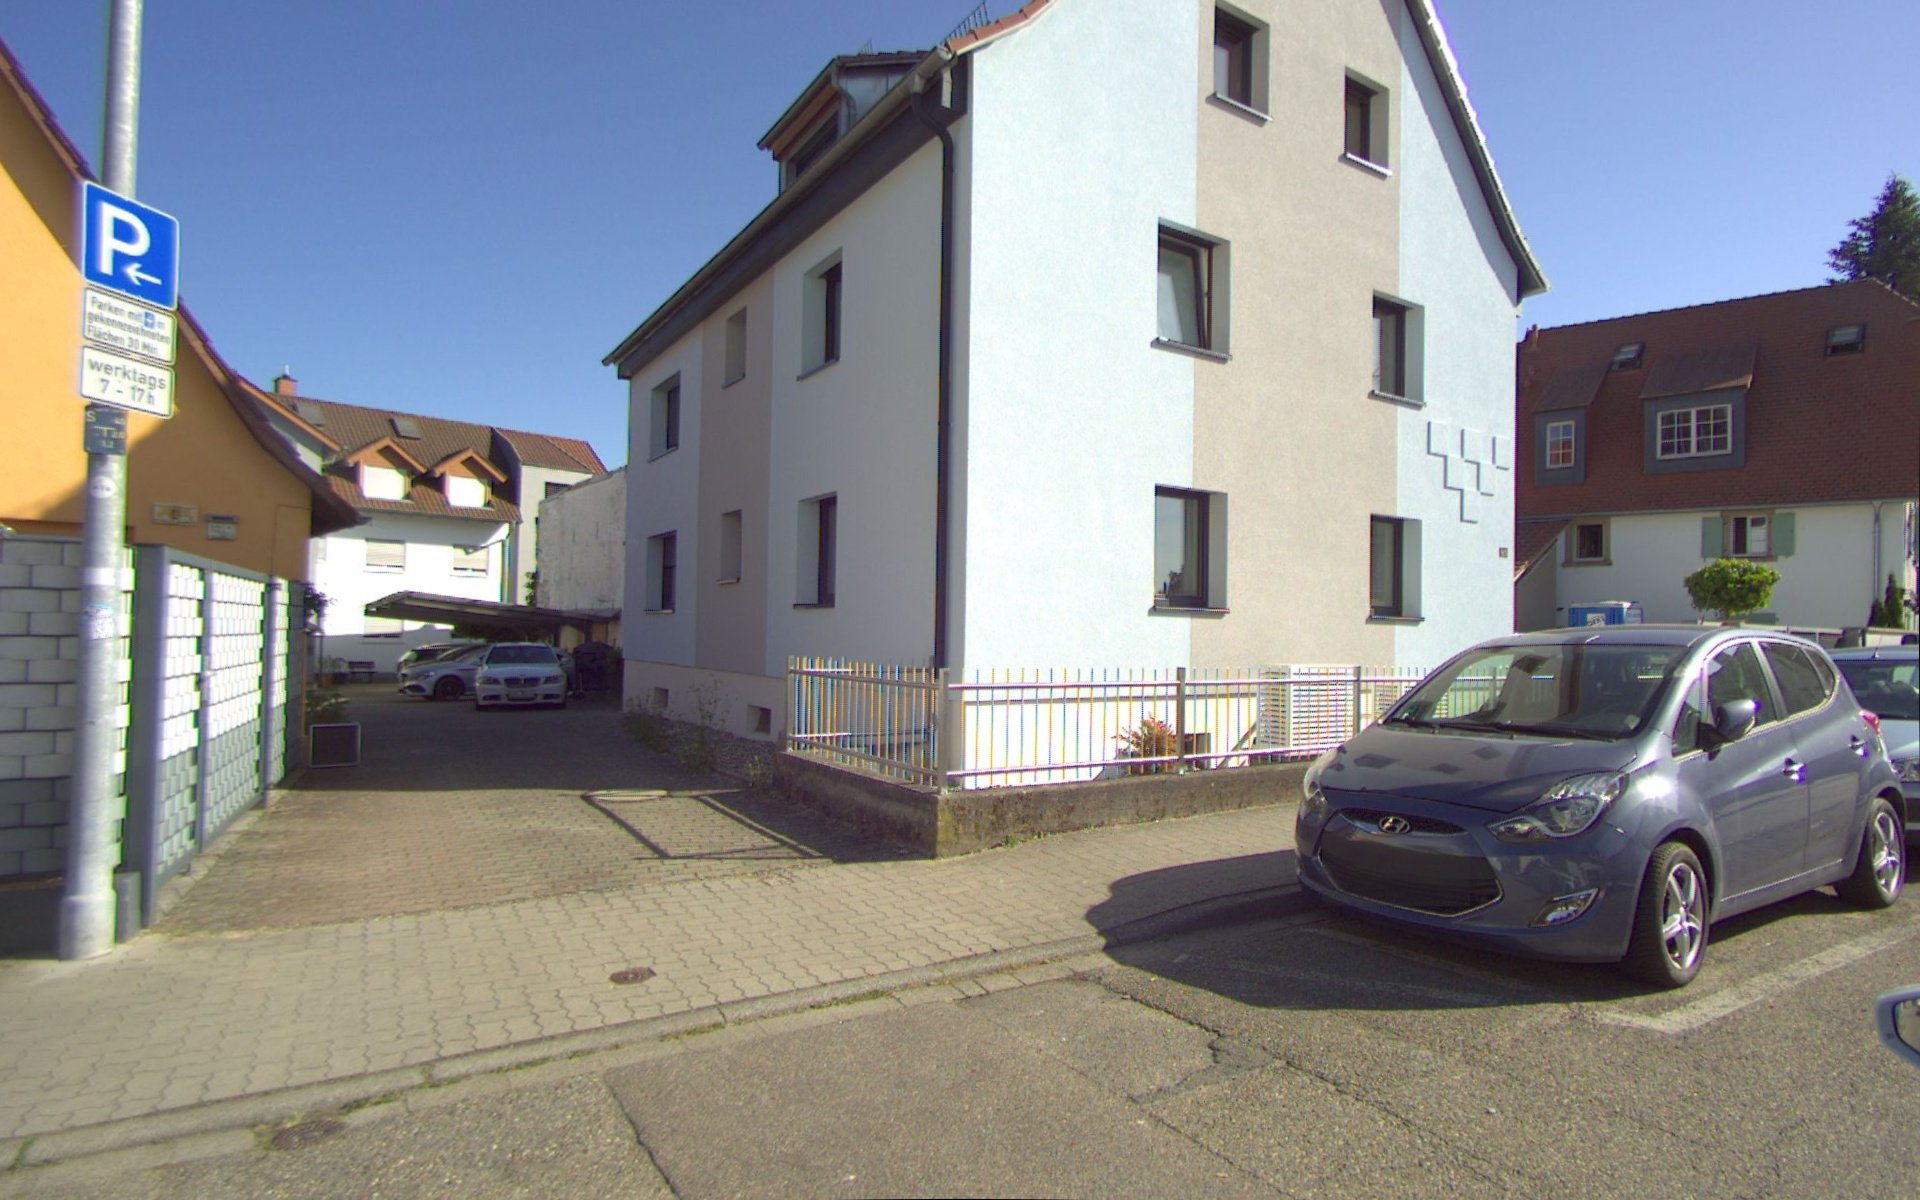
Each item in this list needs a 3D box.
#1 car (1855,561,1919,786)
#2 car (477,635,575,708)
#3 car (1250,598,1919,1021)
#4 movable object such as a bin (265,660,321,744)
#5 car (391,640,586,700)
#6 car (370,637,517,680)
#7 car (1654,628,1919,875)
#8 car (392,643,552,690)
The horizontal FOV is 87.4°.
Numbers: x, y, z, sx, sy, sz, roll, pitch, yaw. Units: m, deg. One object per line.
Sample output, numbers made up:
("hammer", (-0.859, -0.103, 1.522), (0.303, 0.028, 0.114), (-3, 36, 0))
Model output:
("car", (13.171, 0.839, 11.933), (5.998, 2.421, 2.185), (2, -4, -33))
("car", (-9.445, 1.509, 21.865), (1.772, 1.416, 3.978), (1, -3, -24))
("car", (3.623, 0.886, 5.646), (3.882, 1.619, 1.705), (2, -3, -33))
("movable object such as a bin", (-8.179, 1.238, 12.321), (0.498, 0.991, 0.369), (3, -3, -44))
("car", (-12.296, 1.798, 26.301), (4.402, 1.428, 1.783), (2, -3, -35))
("car", (-18.155, 2.035, 35.381), (4.402, 1.428, 1.783), (2, -3, -35))
("car", (7.380, 1.016, 7.875), (4.189, 1.524, 1.702), (2, -3, -33))
("car", (-15.712, 2.123, 32.425), (4.402, 1.428, 1.783), (2, -3, -35))
